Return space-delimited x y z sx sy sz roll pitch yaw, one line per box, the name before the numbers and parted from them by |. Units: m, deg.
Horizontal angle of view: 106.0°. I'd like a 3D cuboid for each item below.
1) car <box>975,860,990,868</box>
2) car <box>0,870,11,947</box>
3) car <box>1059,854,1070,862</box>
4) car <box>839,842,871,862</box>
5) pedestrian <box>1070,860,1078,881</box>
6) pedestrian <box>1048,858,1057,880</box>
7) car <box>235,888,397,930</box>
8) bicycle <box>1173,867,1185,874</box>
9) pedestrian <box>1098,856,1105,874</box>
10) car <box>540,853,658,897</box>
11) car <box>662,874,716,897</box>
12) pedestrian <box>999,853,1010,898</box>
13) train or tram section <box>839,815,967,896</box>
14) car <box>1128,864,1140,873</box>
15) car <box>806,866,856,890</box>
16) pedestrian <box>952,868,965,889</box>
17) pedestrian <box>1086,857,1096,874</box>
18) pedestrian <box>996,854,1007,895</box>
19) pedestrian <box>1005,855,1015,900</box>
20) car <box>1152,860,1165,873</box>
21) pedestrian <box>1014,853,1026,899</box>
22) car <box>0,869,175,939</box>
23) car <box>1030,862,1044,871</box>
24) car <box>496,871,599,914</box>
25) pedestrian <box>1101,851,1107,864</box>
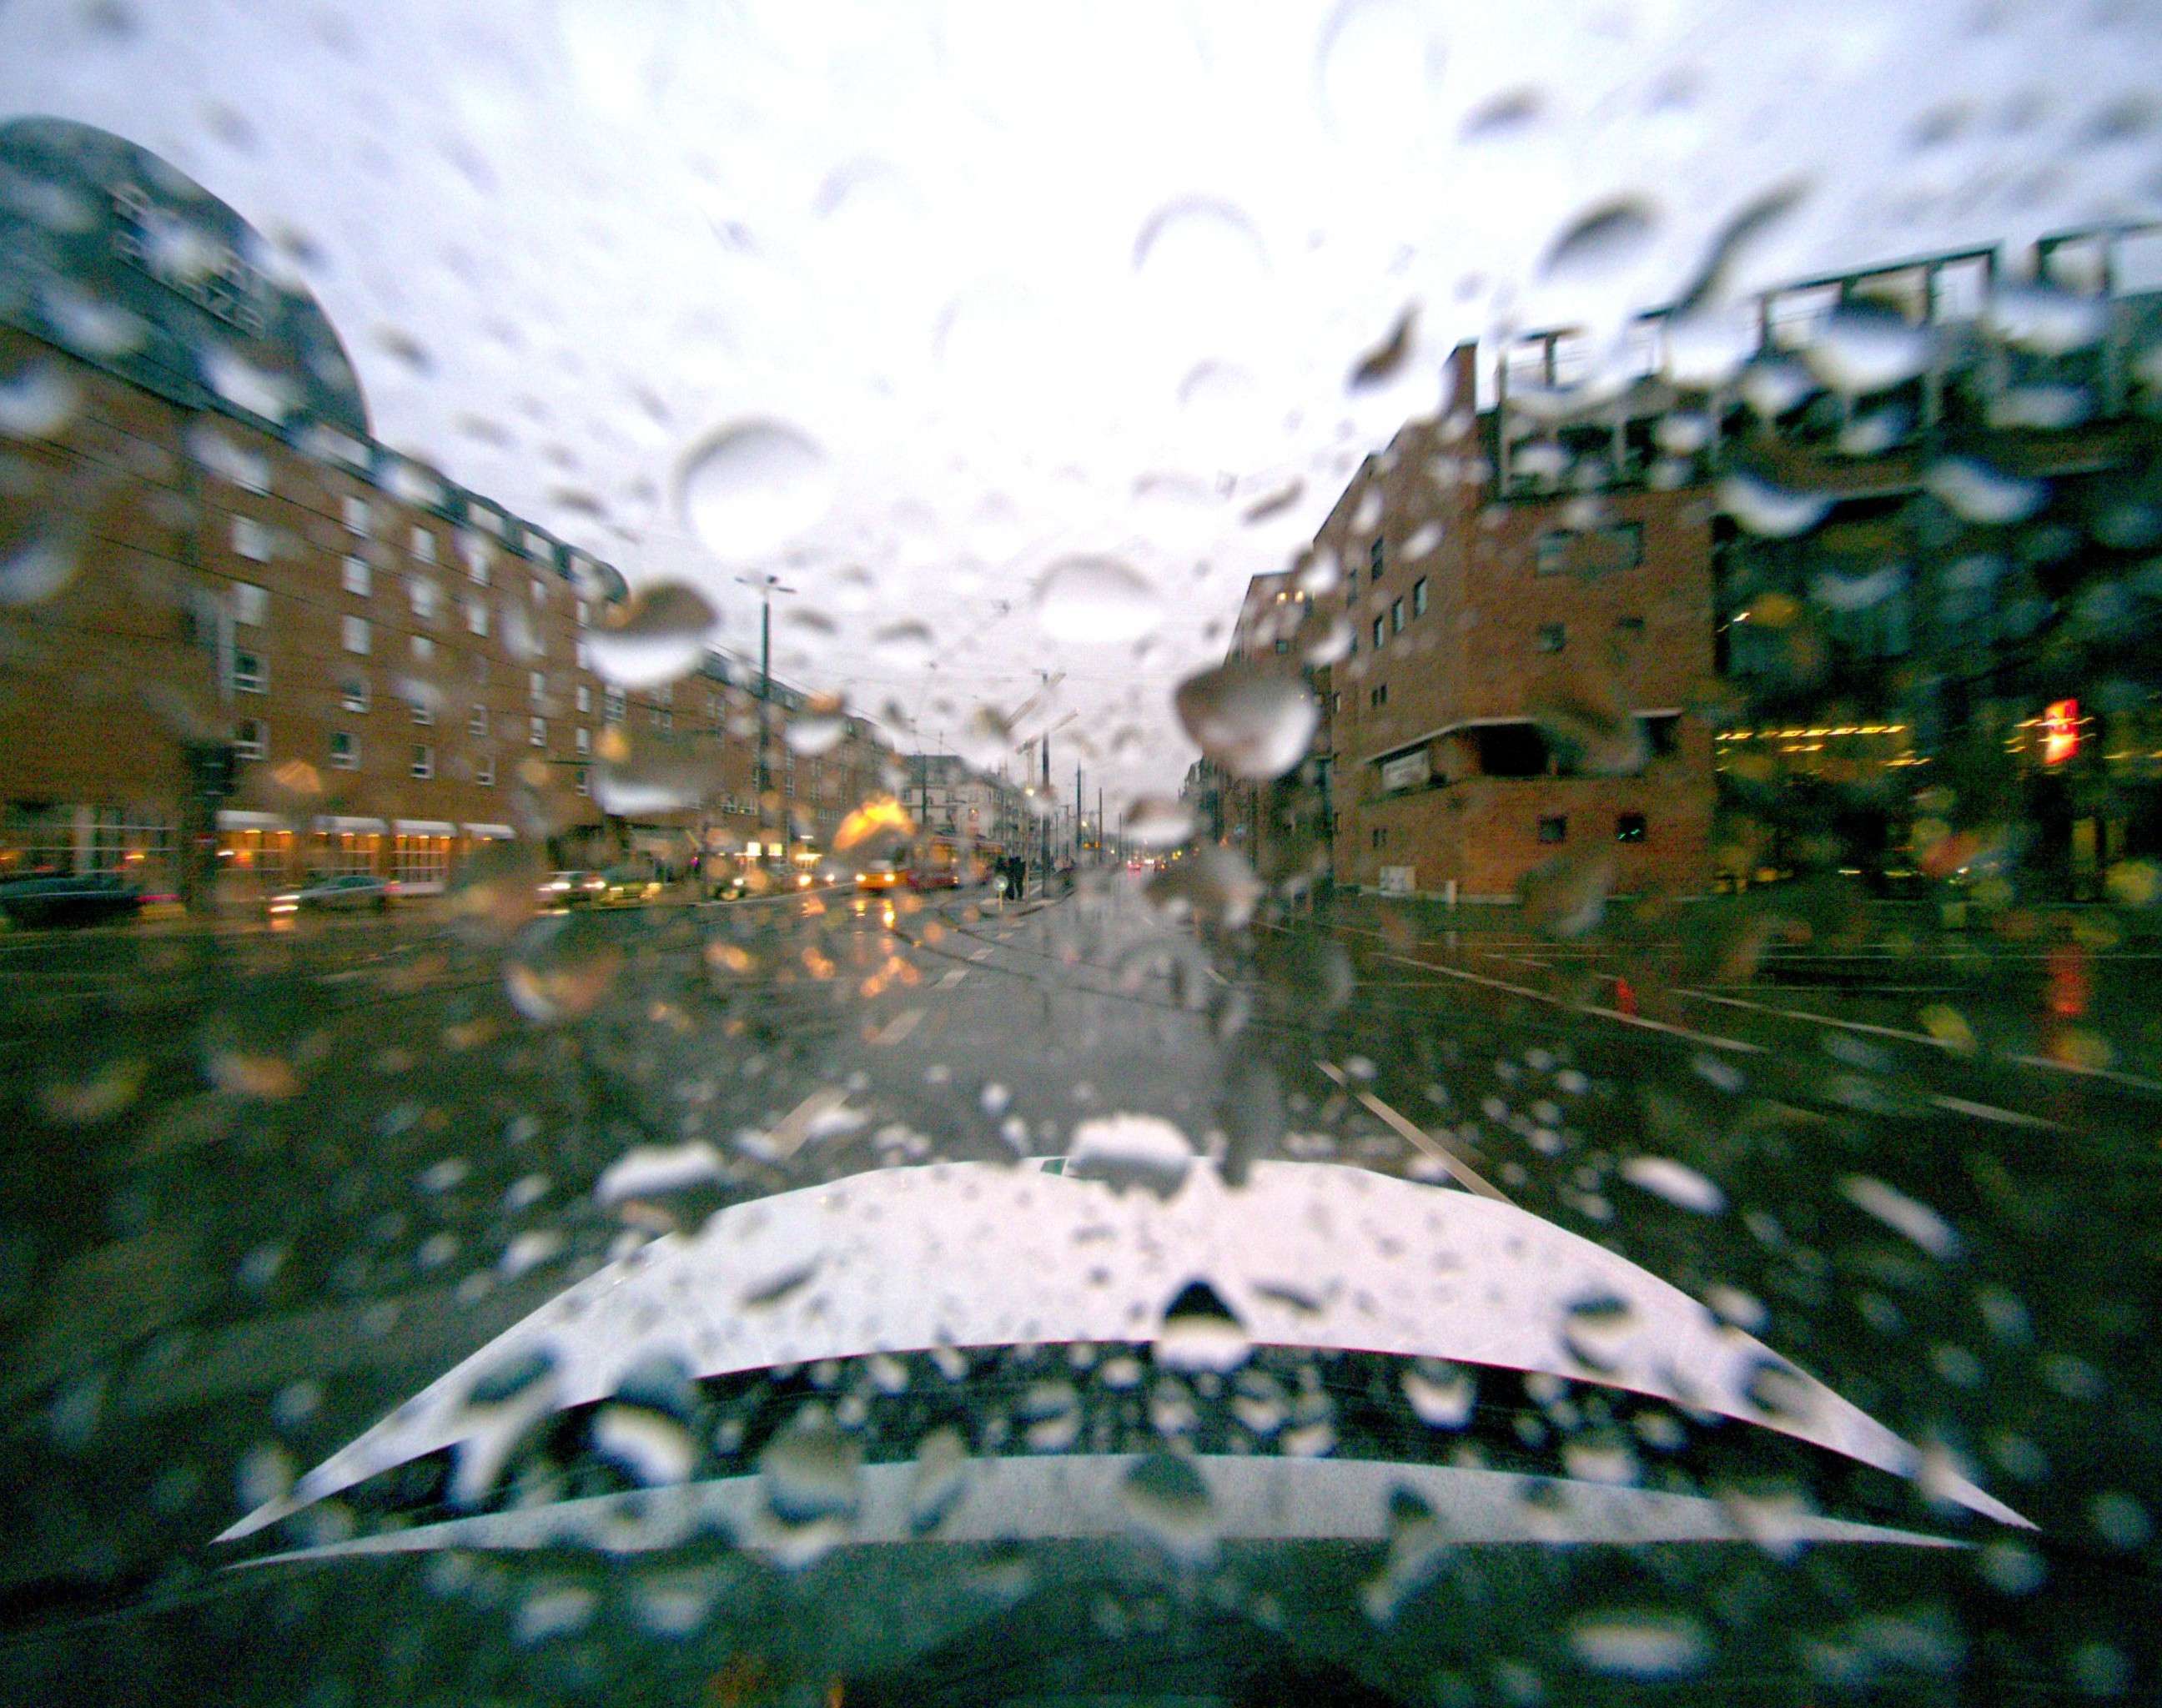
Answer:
car | -15.591 1.585 128.586 1.674 1.354 3.549 1 -1 4
car | -21.998 1.042 13.918 1.660 1.495 4.208 -1 -1 6
car | -3.024 0.733 147.082 1.674 1.354 3.549 1 -1 4
car | -24.349 -0.191 87.700 1.984 2.014 4.005 1 0 5
pedestrian | -0.560 1.332 65.756 0.537 1.692 0.644 0 -1 2
pedestrian | -2.066 1.062 59.456 0.615 1.590 0.622 0 -1 2
car | -28.200 1.985 30.234 1.601 1.321 4.241 -1 -1 11
bicycle | 14.169 2.380 117.965 1.722 1.055 0.371 -2 -1 3
pedestrian | 2.250 1.186 89.284 0.806 1.947 0.805 0 -1 5
car | -20.035 0.852 34.136 1.820 1.709 4.711 0 -1 4
car | -27.973 2.234 58.319 1.604 1.491 4.232 -1 -1 3
pedestrian | -3.336 0.933 35.472 0.432 1.967 0.473 0 -1 0
train or tram section | -8.920 0.126 42.959 2.936 3.589 12.272 1 0 5
car | 8.908 2.448 136.957 1.775 1.467 3.154 -1 -1 7
car | -15.181 1.452 49.620 1.674 1.354 3.549 1 -1 4
pedestrian | -6.873 1.354 45.785 0.577 1.152 0.491 1 -1 6
pedestrian | 1.030 1.185 83.051 0.777 1.704 0.770 1 -1 -14
pedestrian | -3.399 0.887 34.967 0.432 1.735 0.473 0 -1 0
pedestrian | -2.846 0.947 32.730 0.358 1.787 0.440 0 -1 0
car | 12.244 1.921 128.637 1.983 2.014 4.007 -1 -1 7
pedestrian | -2.484 0.886 33.252 0.410 1.845 0.669 0 -1 0
car | -24.441 1.125 18.966 1.745 1.505 4.239 -1 -1 4
car | -6.777 1.965 125.043 1.674 1.354 3.549 1 -1 4
car | -22.890 1.618 35.140 1.676 1.709 3.860 0 -1 4
pedestrian | 2.696 0.430 95.513 0.679 1.516 0.617 0 -1 -8
